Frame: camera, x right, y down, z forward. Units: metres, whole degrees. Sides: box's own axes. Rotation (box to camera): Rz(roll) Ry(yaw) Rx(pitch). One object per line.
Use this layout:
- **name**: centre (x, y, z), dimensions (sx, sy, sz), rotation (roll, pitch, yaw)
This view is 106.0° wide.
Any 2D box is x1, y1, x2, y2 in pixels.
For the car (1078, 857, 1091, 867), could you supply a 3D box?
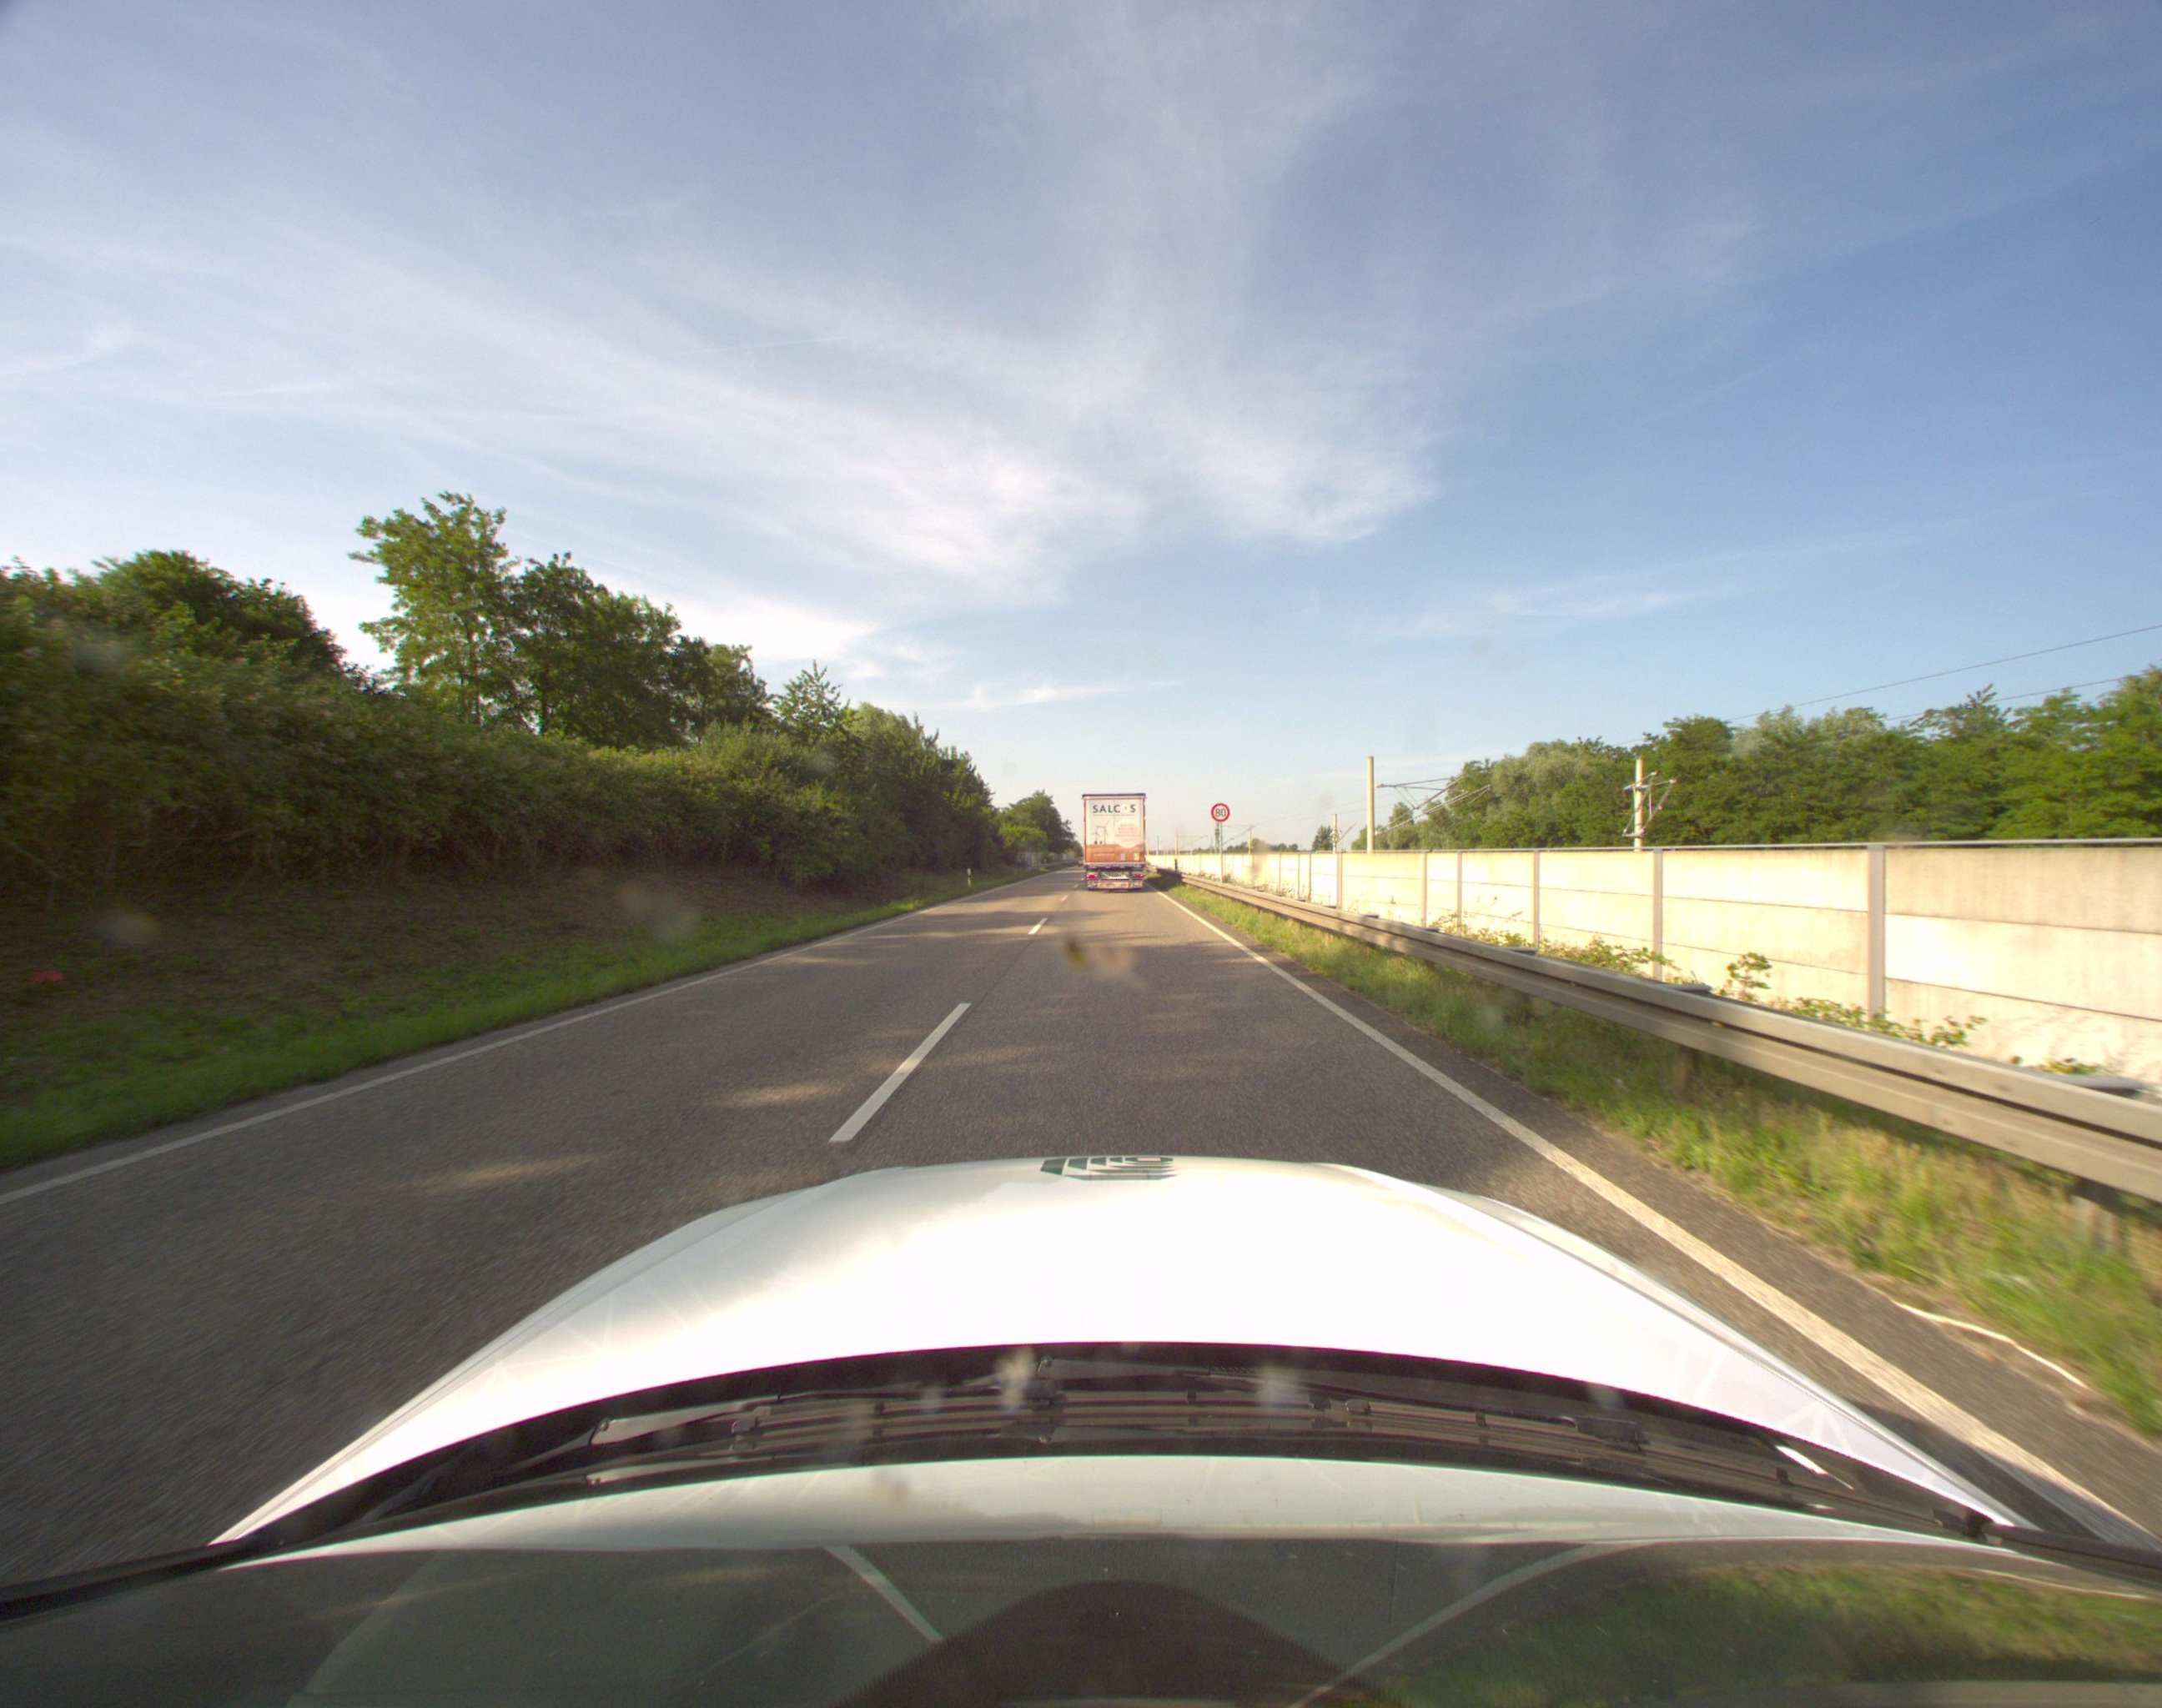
- **car**: centre (0.577, 1.188, 122.154), dimensions (1.713, 1.394, 4.363), rotation (-1, -1, 2)

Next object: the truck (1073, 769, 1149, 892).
- **truck**: centre (1.270, -0.960, 39.008), dimensions (3.023, 4.920, 11.684), rotation (-1, 0, 0)
